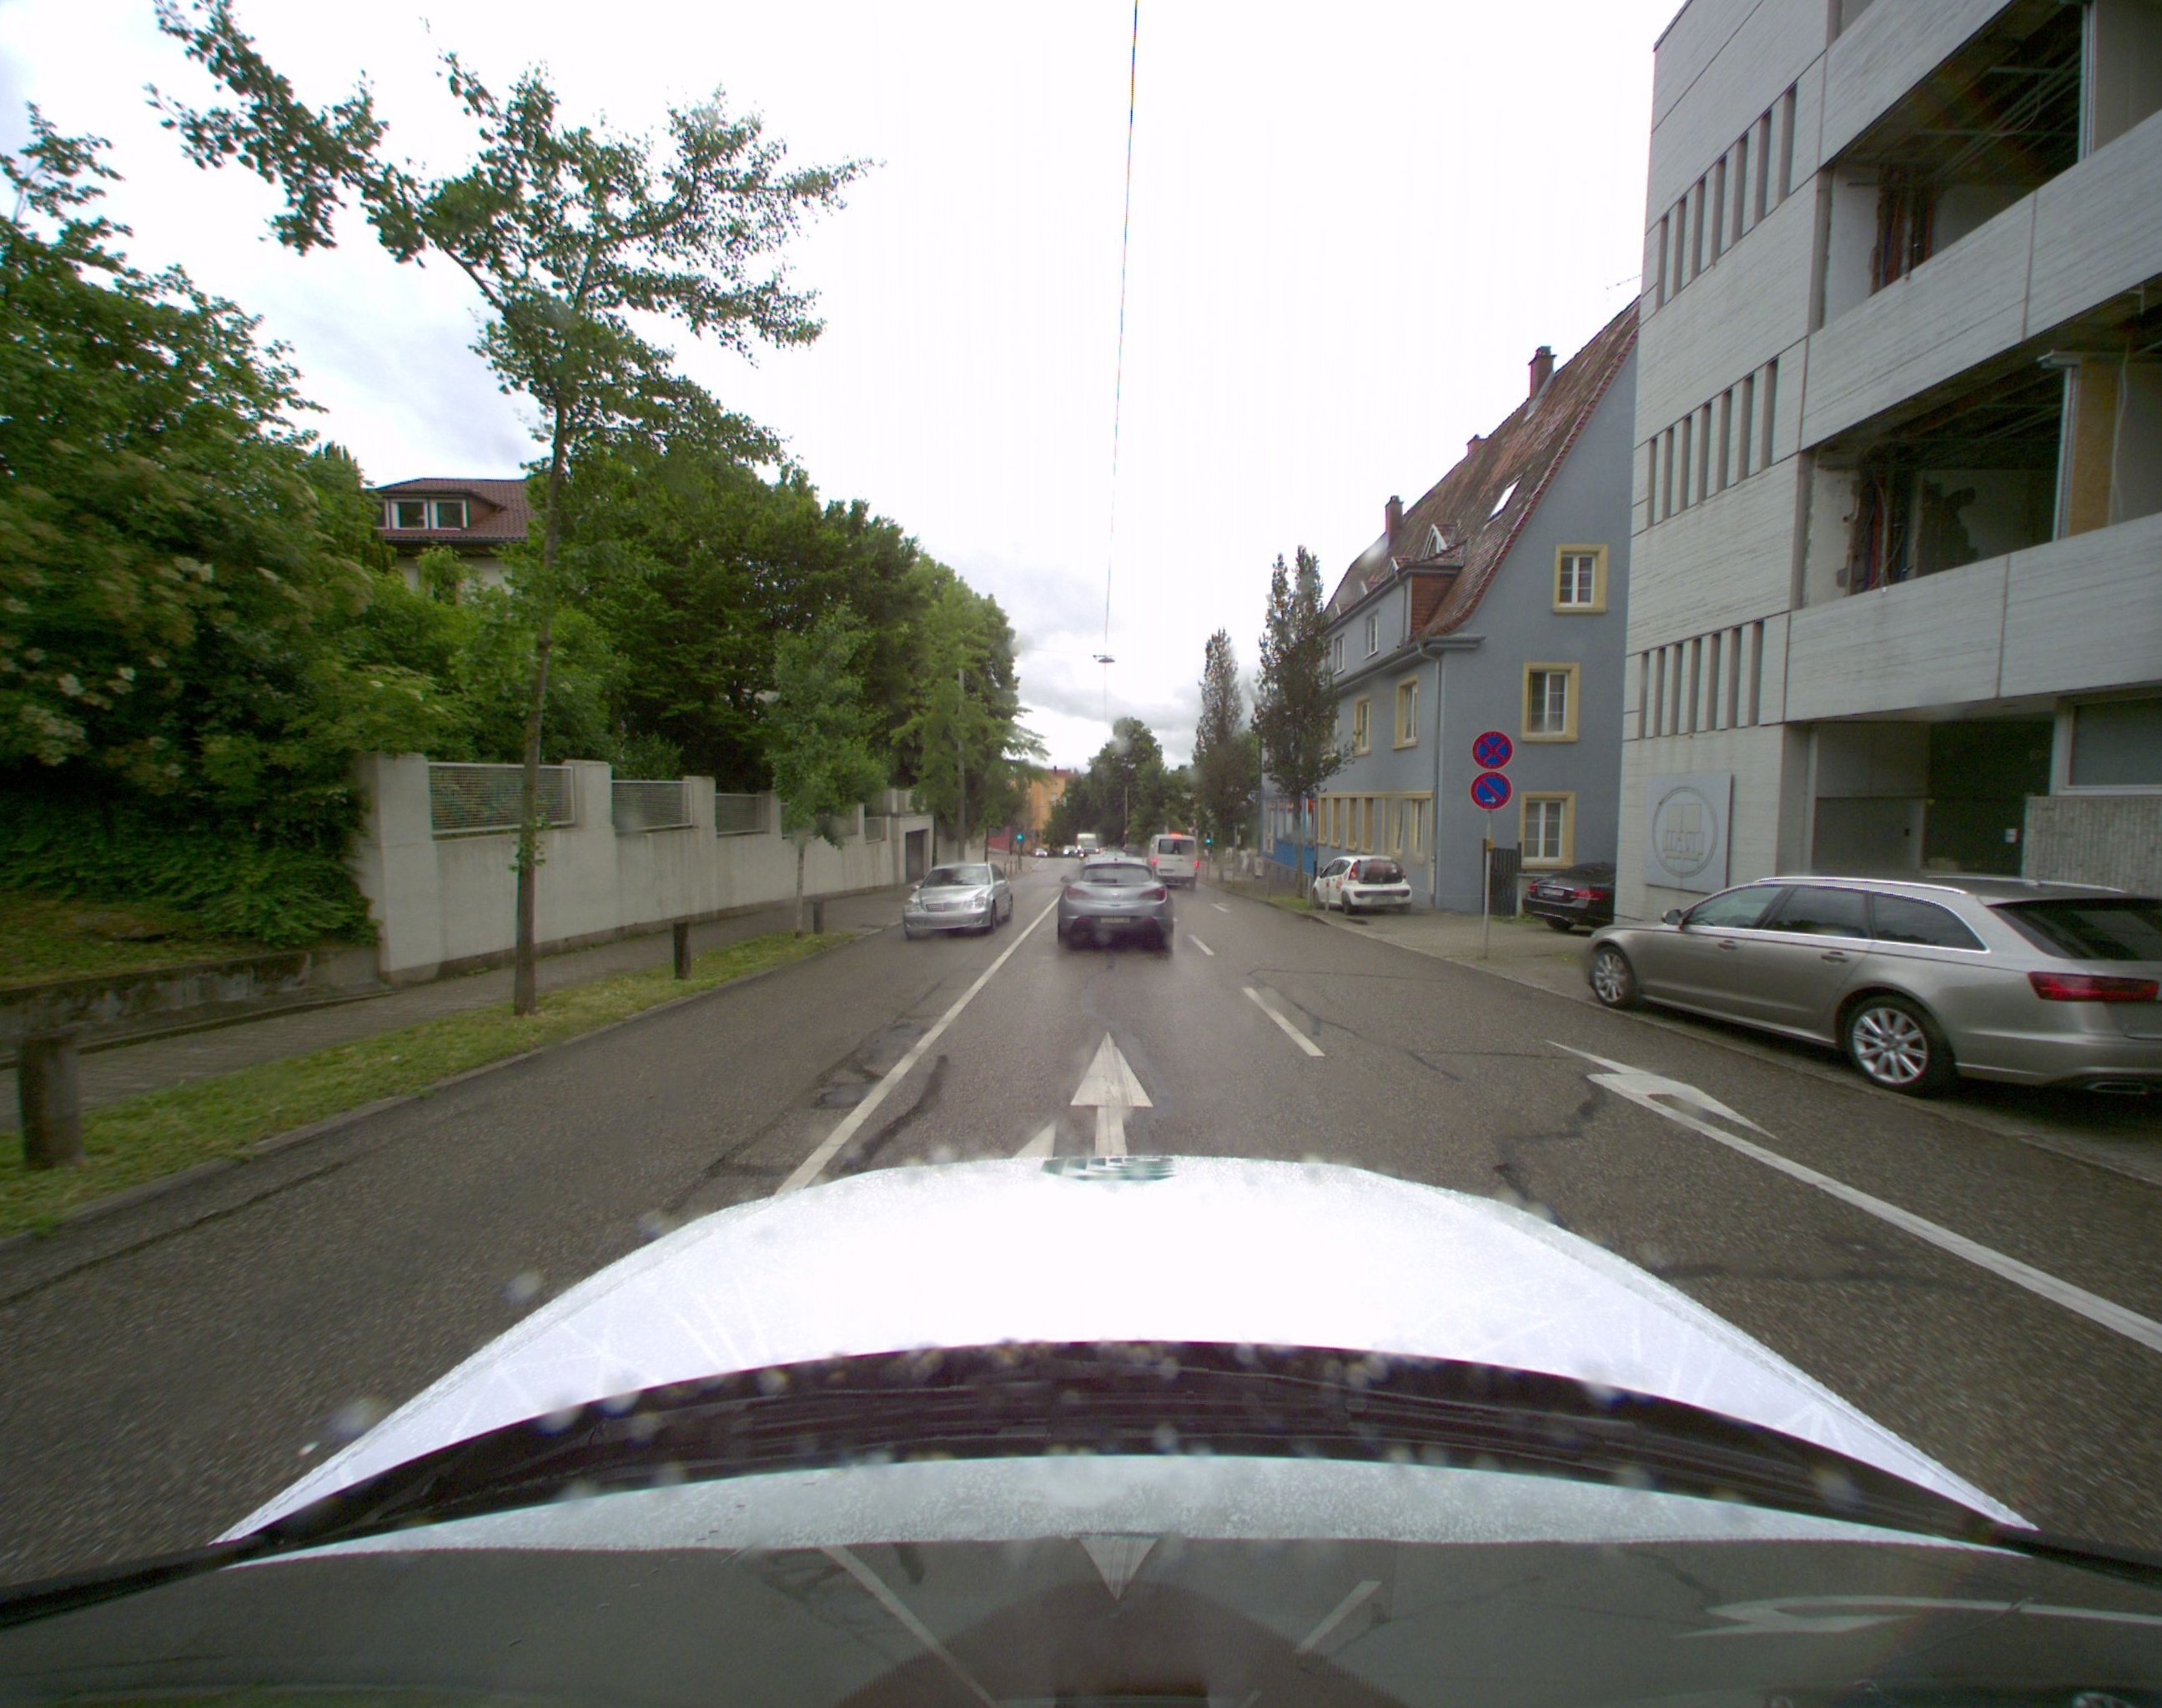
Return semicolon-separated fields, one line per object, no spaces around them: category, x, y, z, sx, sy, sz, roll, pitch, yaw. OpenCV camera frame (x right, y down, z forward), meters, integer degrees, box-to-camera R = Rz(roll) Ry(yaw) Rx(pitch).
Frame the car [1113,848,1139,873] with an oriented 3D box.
car;2.604;0.349;47.480;1.378;1.411;3.457;0;1;1

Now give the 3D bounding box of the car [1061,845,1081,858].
car;-1.328;-0.340;102.355;1.874;1.574;4.572;0;0;-9

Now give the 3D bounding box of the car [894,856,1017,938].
car;-2.474;0.787;17.075;1.713;1.384;4.287;-3;0;2

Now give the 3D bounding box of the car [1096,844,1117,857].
car;3.451;-0.448;110.314;1.816;1.495;3.984;-5;0;-12

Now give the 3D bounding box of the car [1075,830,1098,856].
car;0.519;-1.055;82.147;2.112;2.545;5.536;0;0;-2

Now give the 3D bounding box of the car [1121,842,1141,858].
car;4.570;-0.360;75.204;1.615;1.486;3.435;0;0;0

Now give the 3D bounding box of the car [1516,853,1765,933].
car;11.053;0.703;16.118;4.365;1.407;1.798;0;0;-18

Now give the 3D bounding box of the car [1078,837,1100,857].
car;0.720;-0.632;72.515;1.816;1.652;4.345;2;1;-1

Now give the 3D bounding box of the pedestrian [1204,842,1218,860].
pedestrian;12.083;-0.299;75.667;0.771;1.605;0.955;-2;0;-33

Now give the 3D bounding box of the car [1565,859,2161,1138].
car;6.367;0.800;6.811;1.809;1.459;4.740;0;0;-1

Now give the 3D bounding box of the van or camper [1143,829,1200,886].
van or camper;4.036;0.136;37.200;2.096;2.326;5.419;2;0;2

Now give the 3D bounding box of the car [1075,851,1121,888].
car;0.716;0.592;33.461;1.769;1.430;3.787;-1;0;1

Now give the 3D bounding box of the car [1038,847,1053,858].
car;-5.402;-0.206;124.176;1.774;1.497;4.248;1;0;-10

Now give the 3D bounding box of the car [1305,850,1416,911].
car;7.225;0.625;21.365;1.582;1.411;3.453;-2;0;-2

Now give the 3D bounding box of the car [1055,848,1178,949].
car;0.593;0.646;14.165;1.808;1.429;4.002;1;1;2

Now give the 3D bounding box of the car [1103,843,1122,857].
car;3.429;-0.408;88.379;1.618;1.486;3.430;0;0;-5

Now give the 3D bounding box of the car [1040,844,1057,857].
car;-5.224;-0.510;131.988;1.996;2.014;3.981;0;-1;-14
